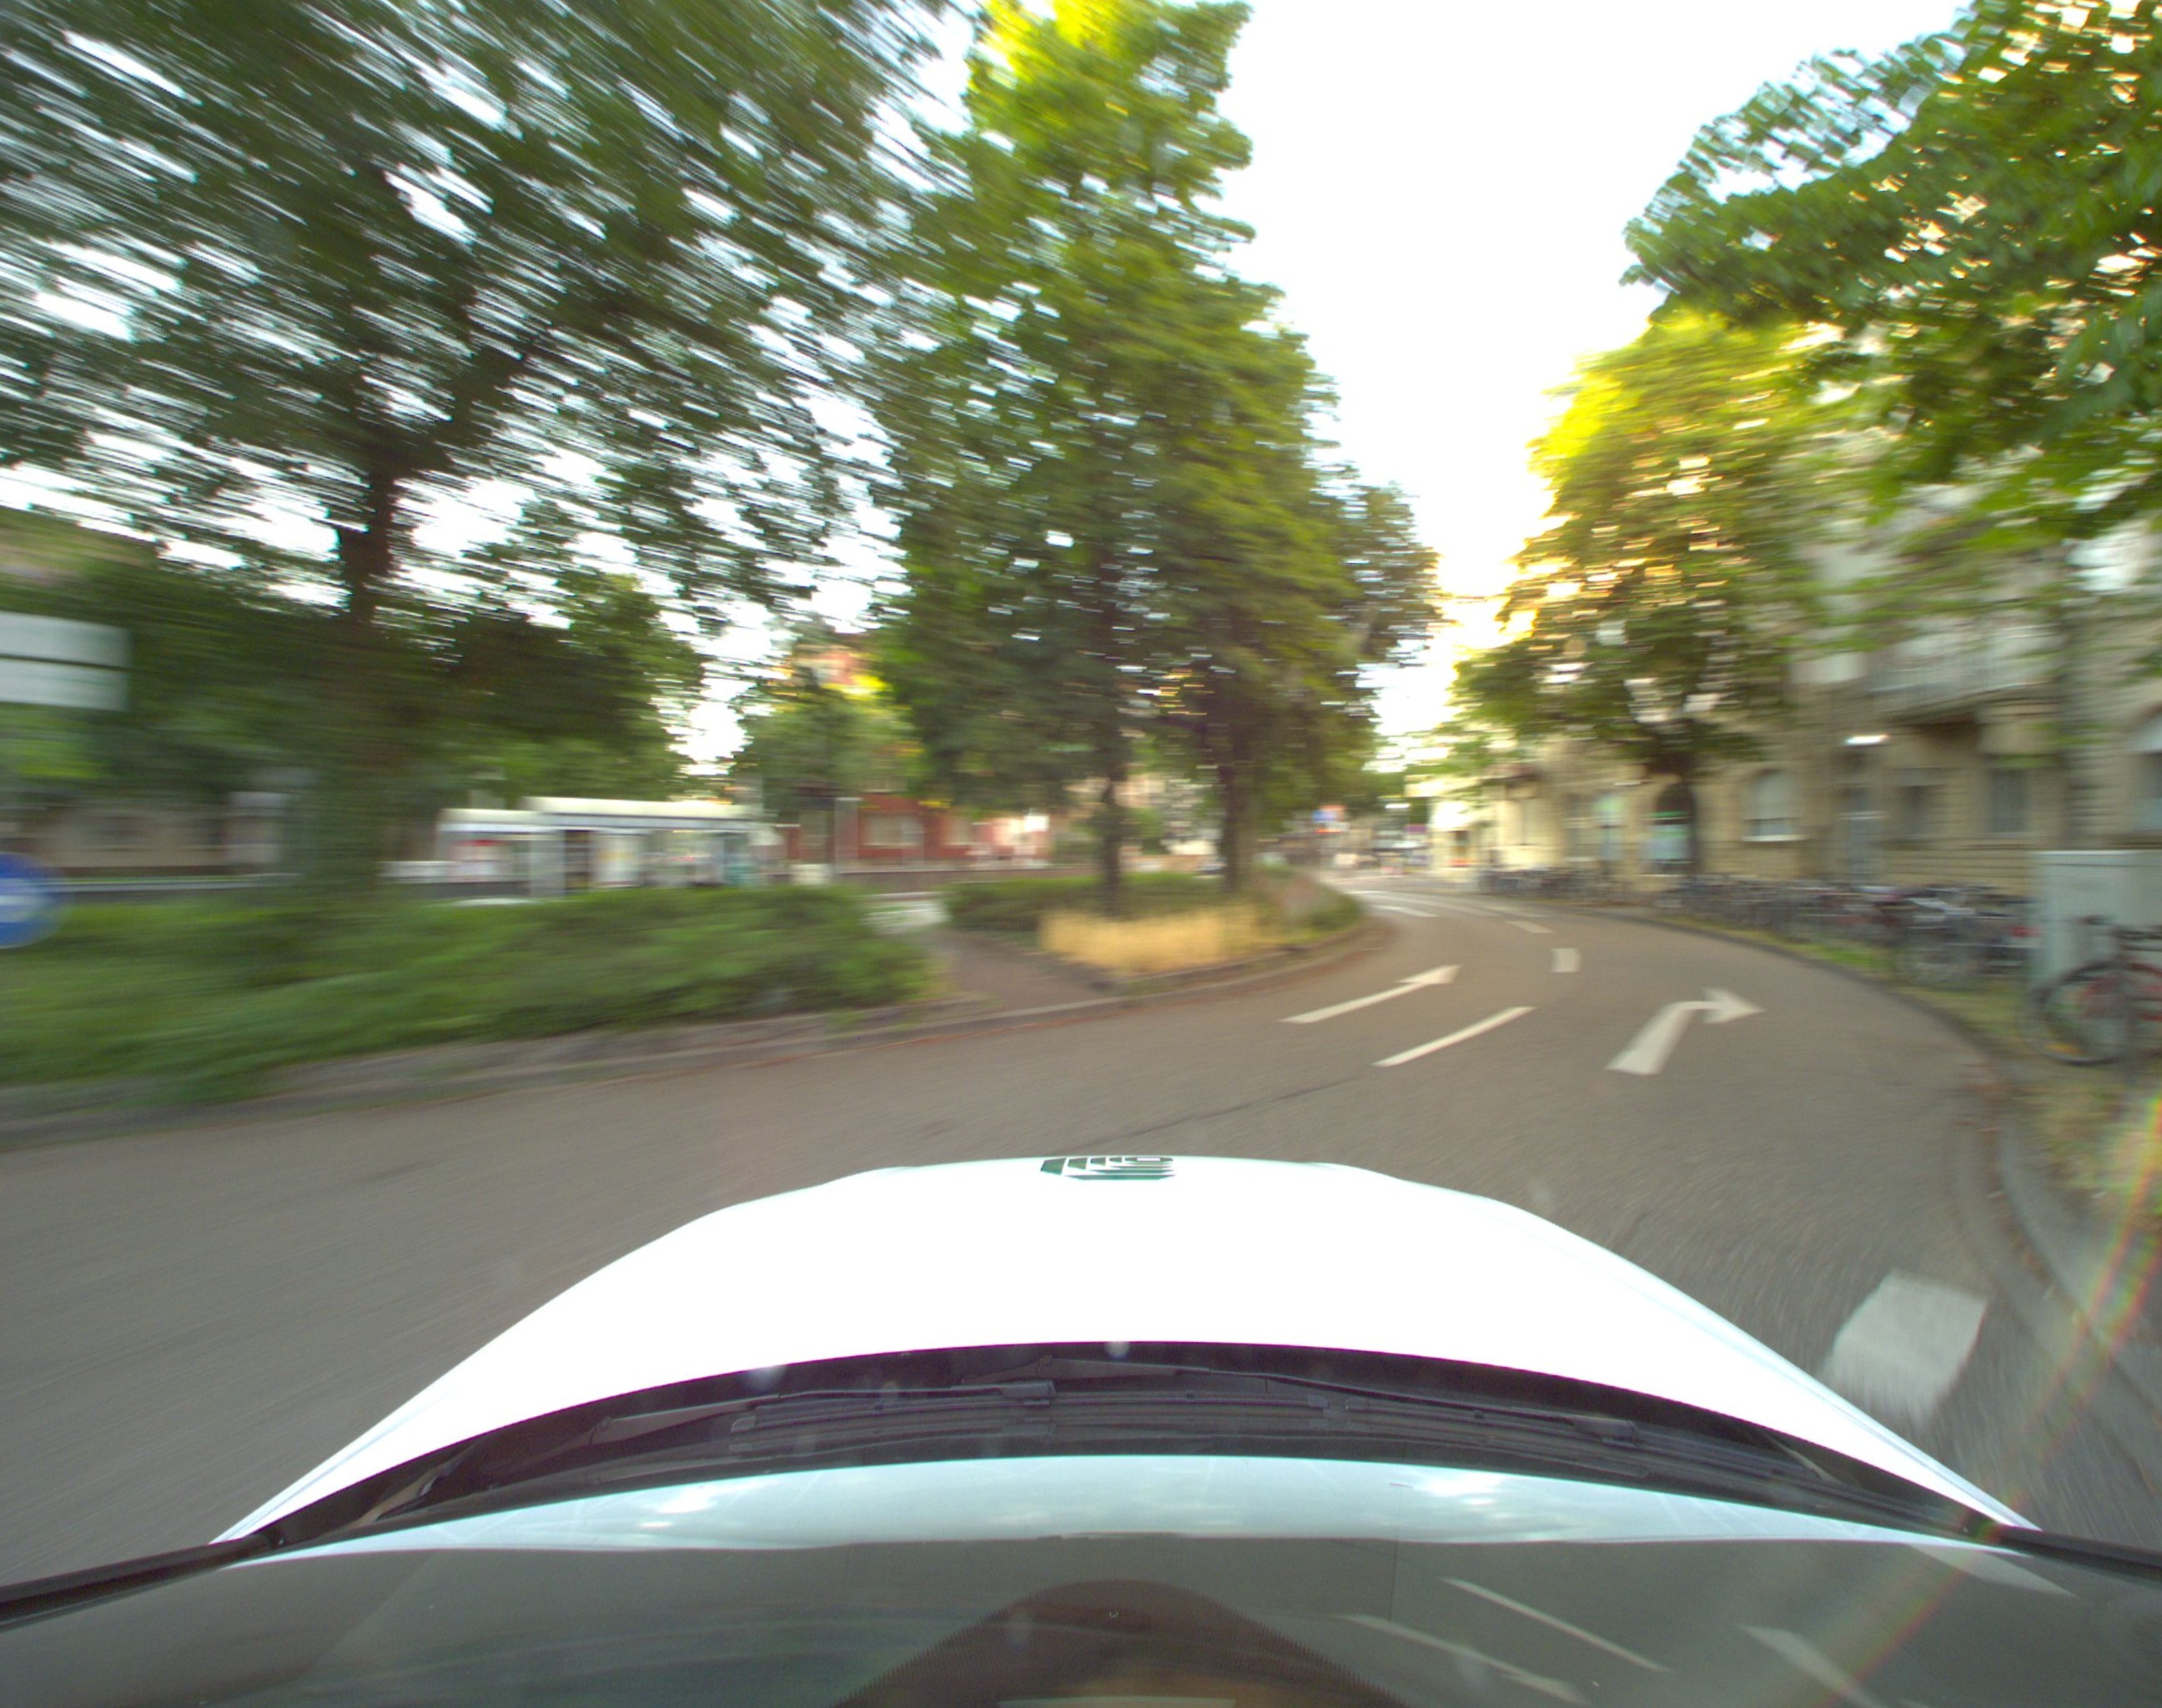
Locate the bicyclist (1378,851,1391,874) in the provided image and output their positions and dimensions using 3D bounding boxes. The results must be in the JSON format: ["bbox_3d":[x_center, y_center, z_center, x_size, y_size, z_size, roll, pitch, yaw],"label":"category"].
[{"bbox_3d":[19.821,0.562,53.171,0.691,1.461,0.788,-1,0,27],"label":"bicyclist"}]

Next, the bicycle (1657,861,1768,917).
[{"bbox_3d":[14.109,0.789,18.241,1.863,1.217,0.494,-1,-6,19],"label":"bicycle"}]

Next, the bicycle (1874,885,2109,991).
[{"bbox_3d":[9.735,0.867,8.791,1.587,1.020,0.558,-1,0,31],"label":"bicycle"}]

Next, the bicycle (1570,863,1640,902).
[{"bbox_3d":[14.945,0.799,23.250,1.664,1.078,0.486,-1,0,1],"label":"bicycle"}]

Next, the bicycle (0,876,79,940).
[{"bbox_3d":[-18.706,0.937,13.981,0.539,1.051,1.867,0,0,42],"label":"bicycle"}]

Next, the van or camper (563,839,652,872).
[{"bbox_3d":[-47.030,0.200,81.080,7.412,3.083,2.647,1,-1,-31],"label":"van or camper"}]

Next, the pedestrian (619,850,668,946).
[{"bbox_3d":[-6.724,0.652,12.533,0.619,1.431,0.650,0,0,-25],"label":"pedestrian"}]

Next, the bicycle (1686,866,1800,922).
[{"bbox_3d":[13.971,0.831,17.234,1.834,1.144,0.421,-1,0,19],"label":"bicycle"}]

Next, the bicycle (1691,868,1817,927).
[{"bbox_3d":[13.678,0.880,16.612,1.834,1.093,0.420,-1,-19,19],"label":"bicycle"}]

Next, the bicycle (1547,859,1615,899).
[{"bbox_3d":[15.091,0.752,24.603,1.659,1.127,0.488,-1,6,10],"label":"bicycle"}]

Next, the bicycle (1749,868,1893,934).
[{"bbox_3d":[13.070,0.819,14.436,1.833,1.116,0.421,-1,0,23],"label":"bicycle"}]

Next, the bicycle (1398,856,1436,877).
[{"bbox_3d":[19.115,0.710,46.378,1.862,1.130,0.733,-1,0,7],"label":"bicycle"}]

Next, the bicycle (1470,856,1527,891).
[{"bbox_3d":[15.218,0.686,29.690,1.786,1.236,0.698,-1,0,-8],"label":"bicycle"}]

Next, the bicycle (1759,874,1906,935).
[{"bbox_3d":[12.978,0.852,14.121,1.833,1.014,0.421,-1,0,23],"label":"bicycle"}]

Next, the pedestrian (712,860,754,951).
[{"bbox_3d":[-5.718,0.818,13.375,0.619,1.431,0.650,0,0,-25],"label":"pedestrian"}]

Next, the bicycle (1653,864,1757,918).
[{"bbox_3d":[14.273,0.837,18.649,1.869,1.139,0.493,1,4,5],"label":"bicycle"}]

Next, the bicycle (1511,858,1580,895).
[{"bbox_3d":[15.233,0.737,26.734,1.878,1.162,0.641,-1,0,2],"label":"bicycle"}]

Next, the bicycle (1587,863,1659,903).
[{"bbox_3d":[15.109,0.801,22.731,1.664,1.078,0.486,-1,0,1],"label":"bicycle"}]

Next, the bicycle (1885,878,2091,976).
[{"bbox_3d":[10.743,0.837,9.707,1.587,1.076,0.421,-1,0,26],"label":"bicycle"}]

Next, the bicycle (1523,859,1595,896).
[{"bbox_3d":[15.218,0.738,25.972,1.878,1.162,0.705,-1,0,2],"label":"bicycle"}]

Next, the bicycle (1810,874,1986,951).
[{"bbox_3d":[11.907,0.831,11.926,1.775,1.063,0.450,-1,0,23],"label":"bicycle"}]

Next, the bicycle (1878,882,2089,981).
[{"bbox_3d":[10.406,0.865,9.450,1.587,1.063,0.421,-1,0,26],"label":"bicycle"}]

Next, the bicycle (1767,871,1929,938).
[{"bbox_3d":[12.755,0.820,13.613,1.898,1.065,0.555,-1,0,20],"label":"bicycle"}]

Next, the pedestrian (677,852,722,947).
[{"bbox_3d":[-5.962,0.684,12.756,0.619,1.431,0.650,0,0,-25],"label":"pedestrian"}]

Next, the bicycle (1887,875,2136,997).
[{"bbox_3d":[9.508,0.798,8.407,1.587,1.148,0.558,-1,0,31],"label":"bicycle"}]

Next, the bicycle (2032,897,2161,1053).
[{"bbox_3d":[7.870,0.844,5.475,1.875,1.039,0.435,-1,0,43],"label":"bicycle"}]

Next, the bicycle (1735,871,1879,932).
[{"bbox_3d":[13.275,0.859,14.942,1.898,1.061,0.538,-1,0,20],"label":"bicycle"}]

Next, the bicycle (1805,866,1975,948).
[{"bbox_3d":[12.134,0.770,12.273,1.775,1.168,0.450,-1,0,23],"label":"bicycle"}]

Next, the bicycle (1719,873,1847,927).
[{"bbox_3d":[13.484,0.876,15.696,1.834,0.999,0.421,-1,0,19],"label":"bicycle"}]

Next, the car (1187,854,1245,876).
[{"bbox_3d":[9.944,0.762,59.680,4.445,1.510,1.926,-1,0,-44],"label":"car"}]

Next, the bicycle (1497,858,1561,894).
[{"bbox_3d":[15.119,0.739,27.476,1.884,1.162,0.639,-1,0,-8],"label":"bicycle"}]

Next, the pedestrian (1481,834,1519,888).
[{"bbox_3d":[16.780,0.276,32.621,1.006,2.085,1.062,-1,0,5],"label":"pedestrian"}]

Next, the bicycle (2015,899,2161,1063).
[{"bbox_3d":[7.420,0.852,5.383,1.587,1.039,0.435,-1,0,43],"label":"bicycle"}]

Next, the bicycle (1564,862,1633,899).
[{"bbox_3d":[15.405,0.781,24.256,1.660,1.078,0.487,-1,0,8],"label":"bicycle"}]

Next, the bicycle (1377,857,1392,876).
[{"bbox_3d":[19.825,0.810,53.179,0.691,1.236,1.874,0,0,27],"label":"bicycle"}]

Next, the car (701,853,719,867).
[{"bbox_3d":[-49.175,0.812,107.952,2.004,1.704,4.678,1,-1,-27],"label":"car"}]

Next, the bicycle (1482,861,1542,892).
[{"bbox_3d":[15.244,0.784,28.823,1.800,1.038,0.698,-1,0,-8],"label":"bicycle"}]

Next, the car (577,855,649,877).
[{"bbox_3d":[-37.699,0.957,65.701,4.981,1.704,1.981,1,-1,-31],"label":"car"}]

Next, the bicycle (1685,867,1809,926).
[{"bbox_3d":[13.760,0.876,16.878,1.834,1.131,0.420,-1,-19,19],"label":"bicycle"}]

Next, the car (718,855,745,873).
[{"bbox_3d":[-32.950,0.933,76.633,2.004,1.704,4.678,1,-1,-27],"label":"car"}]

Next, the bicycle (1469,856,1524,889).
[{"bbox_3d":[15.695,0.690,30.775,1.787,1.236,0.649,-1,0,-10],"label":"bicycle"}]

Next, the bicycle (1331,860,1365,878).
[{"bbox_3d":[15.729,0.879,47.965,1.785,1.055,0.698,0,0,-7],"label":"bicycle"}]

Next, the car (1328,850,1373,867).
[{"bbox_3d":[24.519,0.366,73.959,4.658,1.510,1.926,-1,0,-44],"label":"car"}]

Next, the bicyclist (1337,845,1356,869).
[{"bbox_3d":[15.615,0.184,47.956,0.861,1.411,0.698,0,0,-7],"label":"bicyclist"}]

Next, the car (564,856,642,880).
[{"bbox_3d":[-35.977,1.064,61.455,4.981,1.704,1.981,1,-1,-31],"label":"car"}]

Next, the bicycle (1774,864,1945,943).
[{"bbox_3d":[12.351,0.762,12.980,1.898,1.200,0.555,-1,0,20],"label":"bicycle"}]

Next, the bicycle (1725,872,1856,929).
[{"bbox_3d":[13.393,0.865,15.417,1.834,1.051,0.421,-1,0,19],"label":"bicycle"}]

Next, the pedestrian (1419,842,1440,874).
[{"bbox_3d":[19.458,0.213,45.454,0.862,1.794,0.927,-1,0,9],"label":"pedestrian"}]

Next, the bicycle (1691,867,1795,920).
[{"bbox_3d":[14.344,0.844,17.662,1.846,1.104,0.573,-1,0,-5],"label":"bicycle"}]
